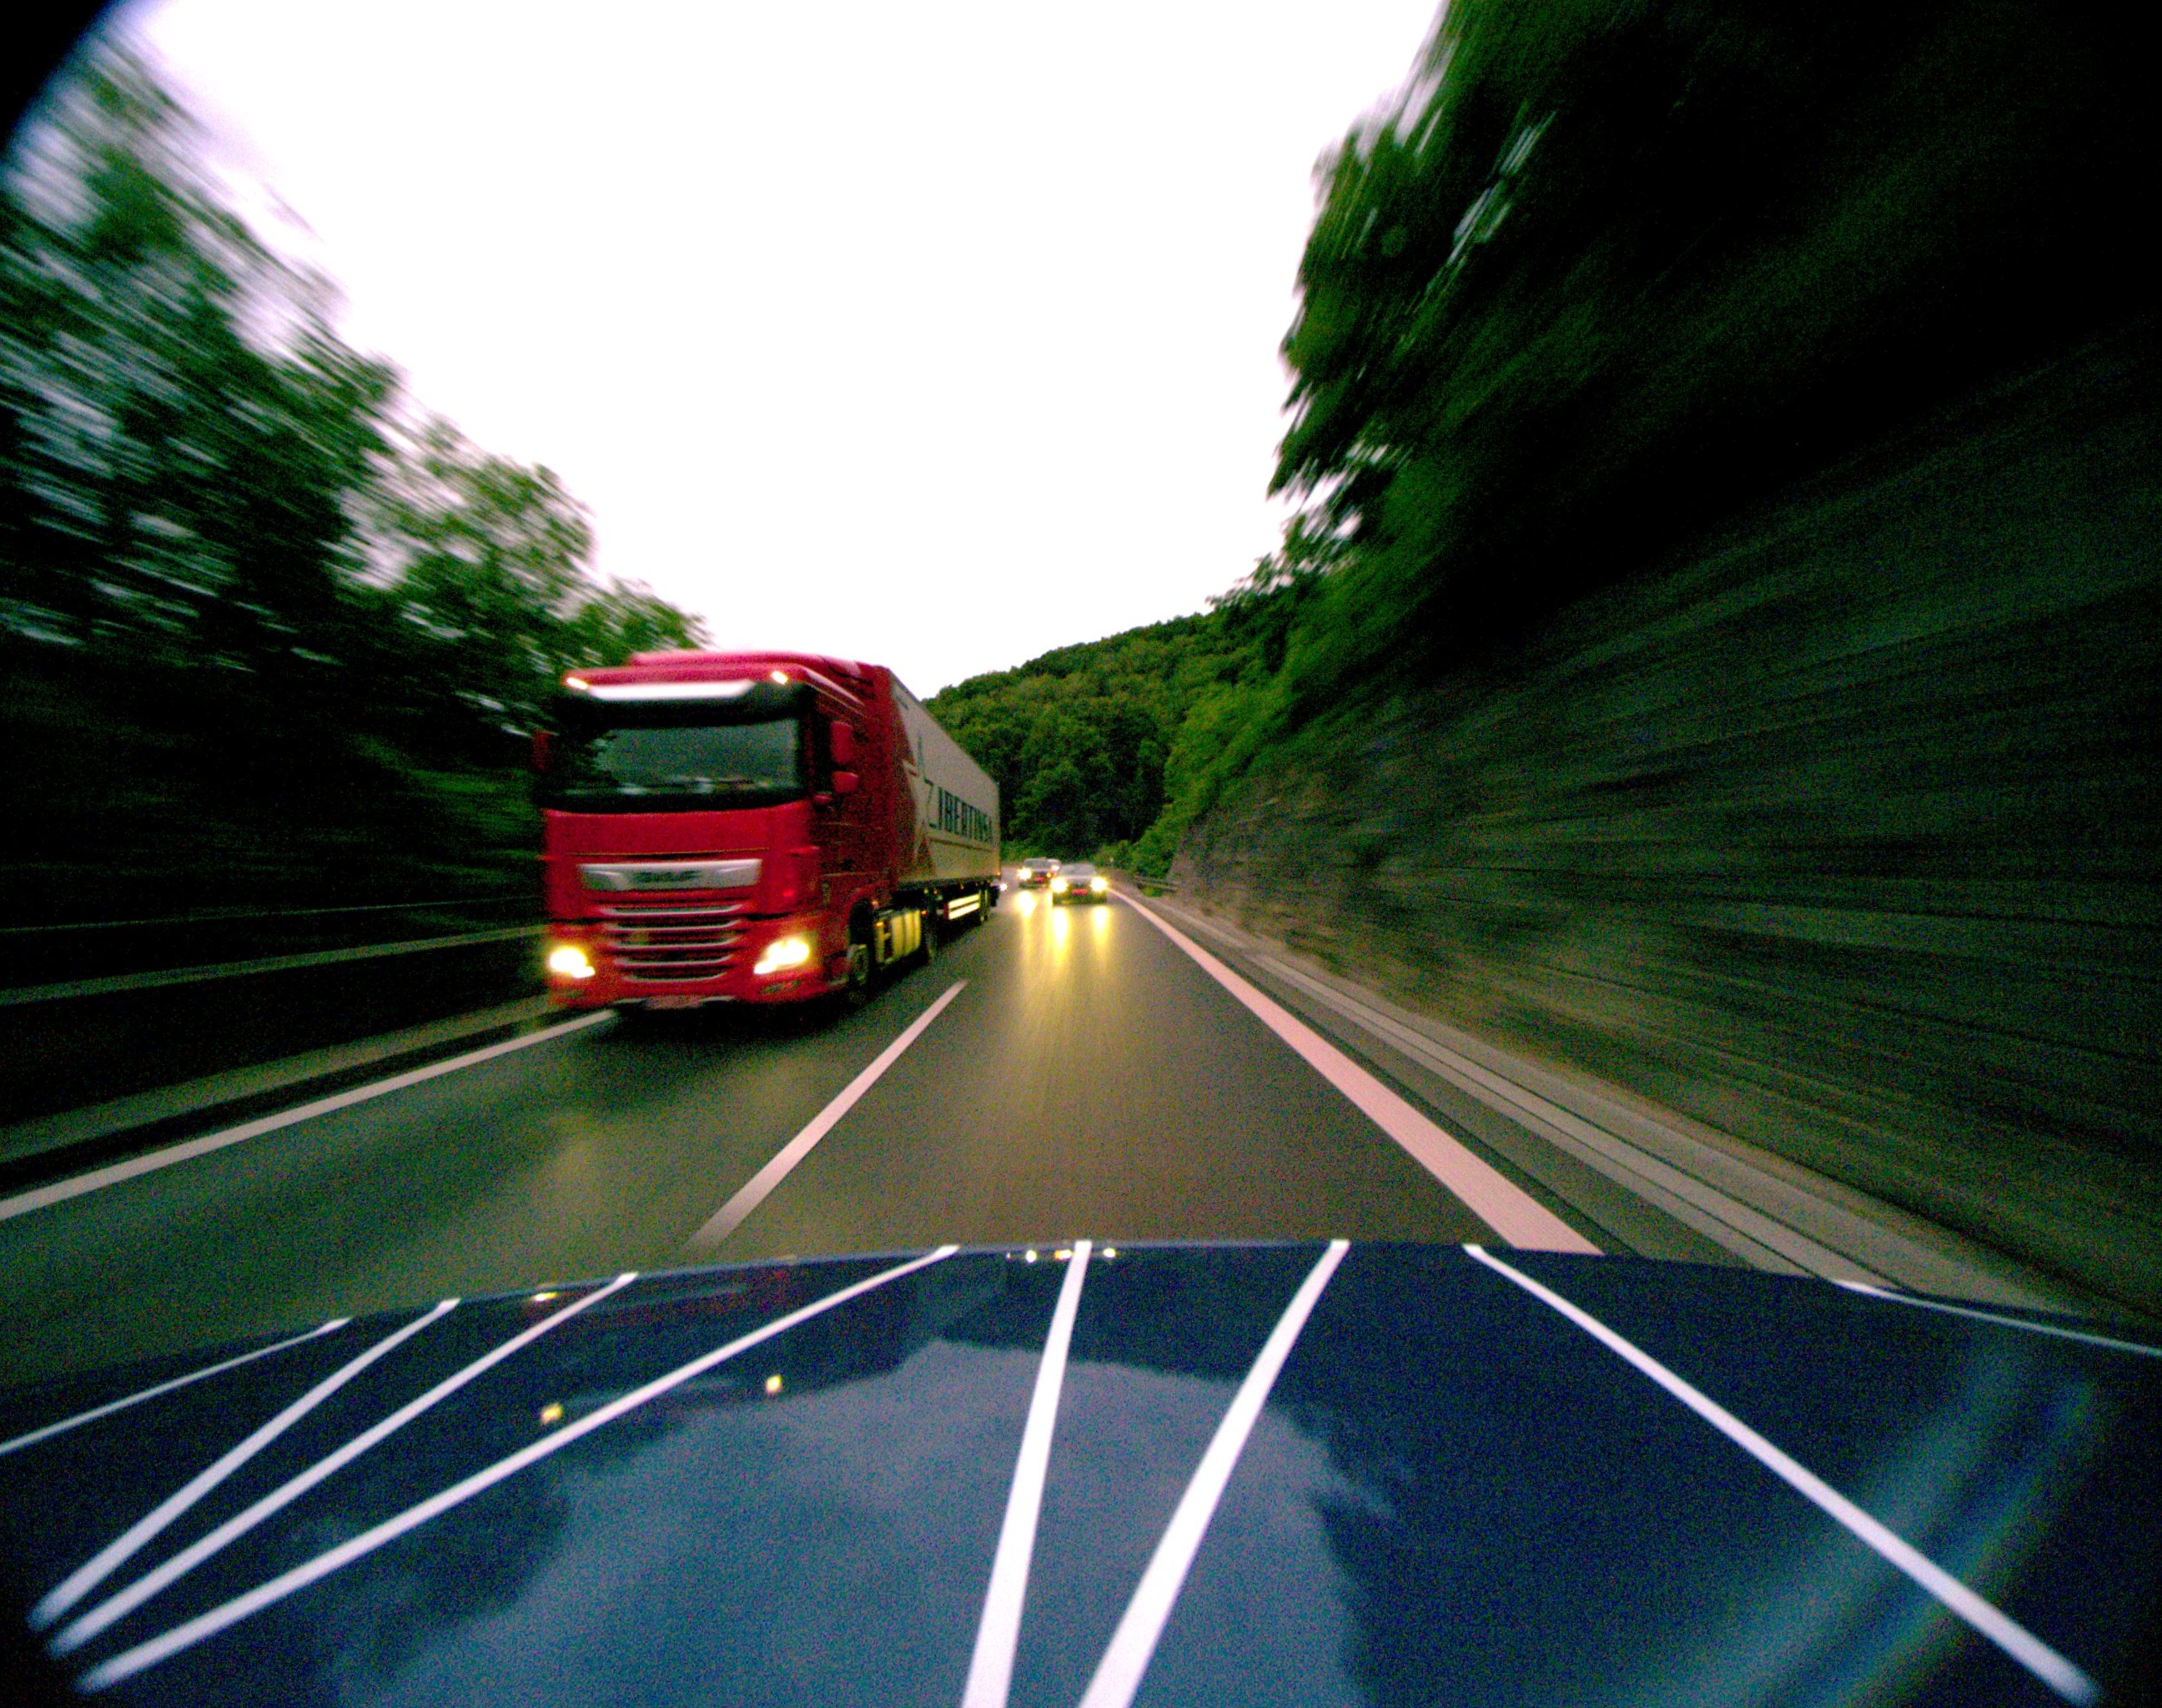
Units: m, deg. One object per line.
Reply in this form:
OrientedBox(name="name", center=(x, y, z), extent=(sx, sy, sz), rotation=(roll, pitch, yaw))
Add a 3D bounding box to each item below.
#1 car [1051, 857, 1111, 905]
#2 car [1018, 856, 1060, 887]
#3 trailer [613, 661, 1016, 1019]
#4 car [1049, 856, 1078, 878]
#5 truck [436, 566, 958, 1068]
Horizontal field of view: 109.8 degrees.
OrientedBox(name="car", center=(0.074, 0.912, 27.459), extent=(1.998, 1.499, 4.000), rotation=(-1, 1, 2))
OrientedBox(name="car", center=(-2.389, 0.925, 42.415), extent=(2.000, 1.630, 3.997), rotation=(-1, 0, -8))
OrientedBox(name="trailer", center=(-3.759, -0.152, 16.114), extent=(3.105, 3.947, 14.217), rotation=(-6, 0, 0))
OrientedBox(name="car", center=(-1.387, 0.979, 58.107), extent=(1.999, 1.499, 3.999), rotation=(4, -1, -3))
OrientedBox(name="truck", center=(-3.804, -0.269, 9.702), extent=(3.077, 4.120, 6.448), rotation=(-3, -1, 1))
